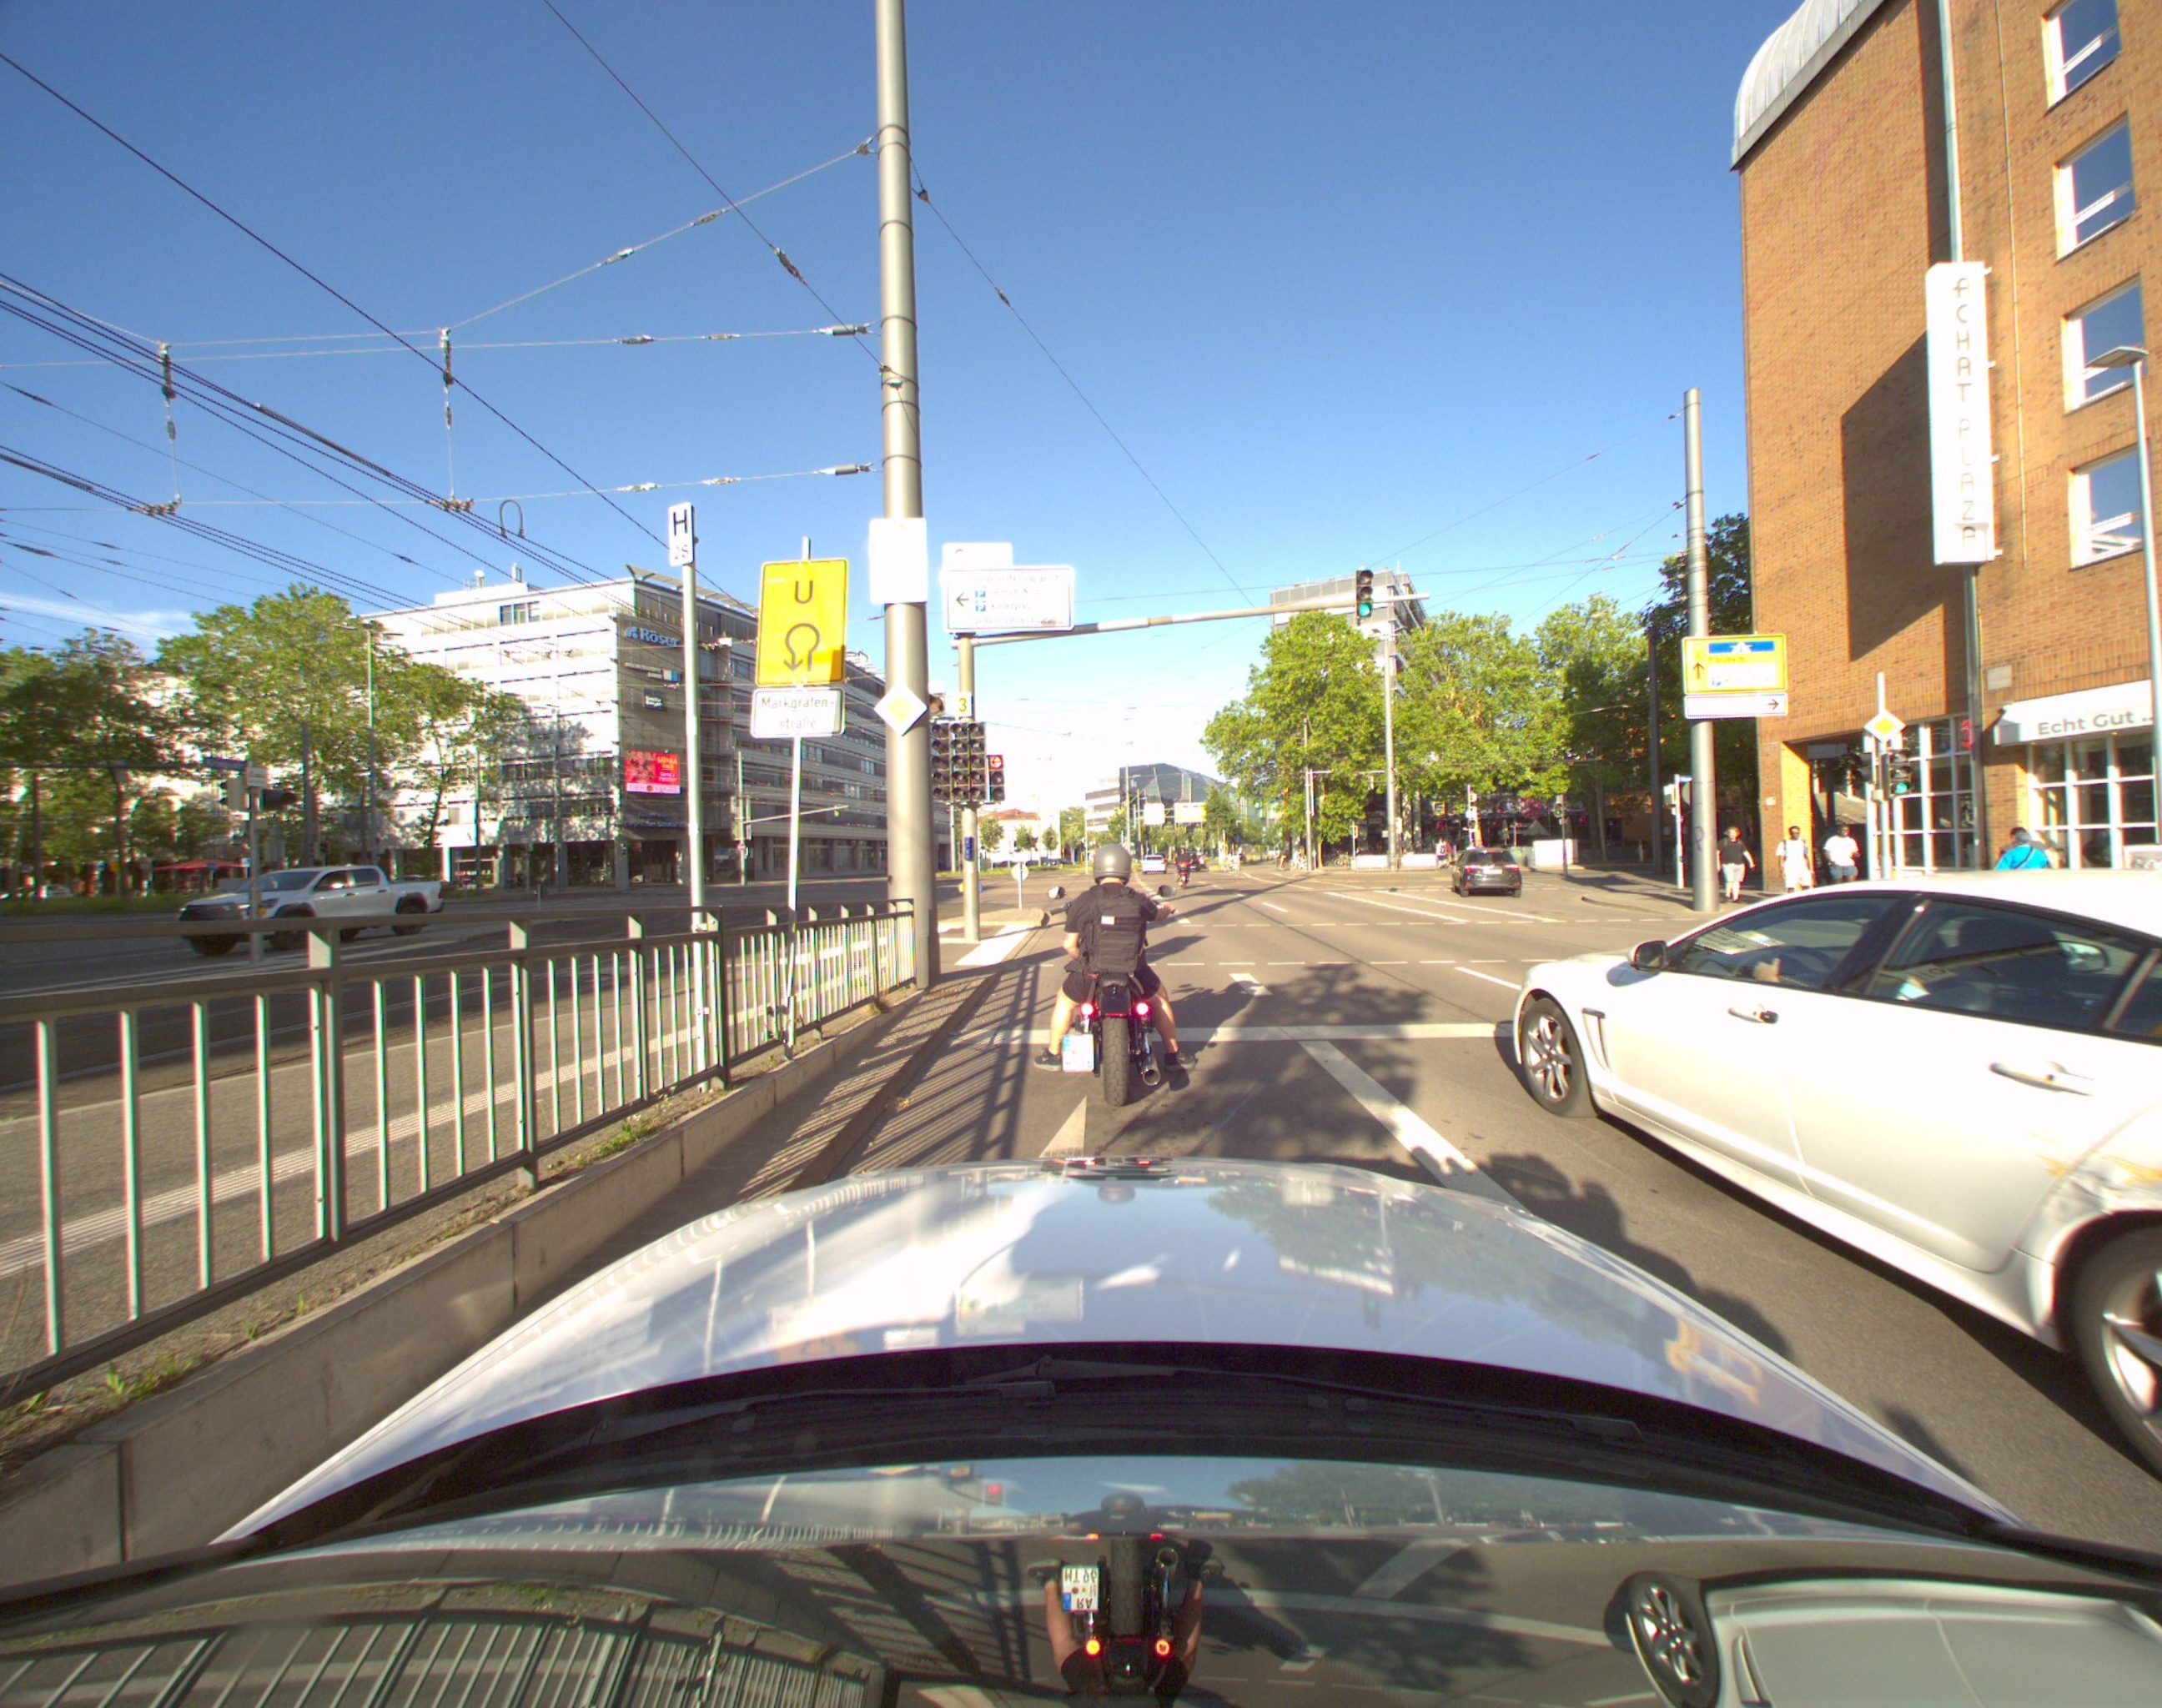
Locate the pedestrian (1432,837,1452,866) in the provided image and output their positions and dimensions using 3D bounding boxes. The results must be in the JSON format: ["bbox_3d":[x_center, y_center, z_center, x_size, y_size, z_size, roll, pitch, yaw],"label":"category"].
[{"bbox_3d":[21.302,-0.165,48.064,0.829,1.704,0.760,0,-1,2],"label":"pedestrian"}]

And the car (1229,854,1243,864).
[{"bbox_3d":[26.261,0.930,138.008,1.789,1.678,4.059,0,-1,18],"label":"car"}]

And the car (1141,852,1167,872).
[{"bbox_3d":[5.531,0.630,62.208,1.725,1.457,4.419,0,-1,2],"label":"car"}]

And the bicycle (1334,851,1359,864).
[{"bbox_3d":[21.293,0.291,65.376,1.874,1.046,0.360,0,-1,1],"label":"bicycle"}]

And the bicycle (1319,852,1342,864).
[{"bbox_3d":[21.505,0.363,70.298,1.874,1.046,0.360,0,0,1],"label":"bicycle"}]

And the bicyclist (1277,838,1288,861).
[{"bbox_3d":[15.596,-0.357,63.130,0.693,1.808,0.730,0,-1,6],"label":"bicyclist"}]

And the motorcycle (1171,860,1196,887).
[{"bbox_3d":[4.240,0.801,33.849,0.801,1.050,2.376,0,-1,2],"label":"motorcycle"}]

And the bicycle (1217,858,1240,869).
[{"bbox_3d":[12.131,0.760,66.933,1.823,0.925,0.357,0,-1,-7],"label":"bicycle"}]

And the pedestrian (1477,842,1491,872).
[{"bbox_3d":[20.098,0.162,40.659,0.561,1.479,0.706,-1,-1,22],"label":"pedestrian"}]

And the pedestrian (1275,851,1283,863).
[{"bbox_3d":[21.969,0.288,90.337,0.814,1.314,0.640,-1,-1,11],"label":"pedestrian"}]

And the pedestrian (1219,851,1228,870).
[{"bbox_3d":[11.979,0.544,68.572,0.587,1.557,0.488,0,-1,-6],"label":"pedestrian"}]

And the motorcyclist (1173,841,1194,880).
[{"bbox_3d":[4.226,0.263,33.652,0.793,1.580,0.529,0,-1,1],"label":"motorcyclist"}]

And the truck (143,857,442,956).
[{"bbox_3d":[-17.996,1.126,19.087,1.988,1.880,5.152,-4,-1,-2],"label":"truck"}]

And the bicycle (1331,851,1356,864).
[{"bbox_3d":[21.308,0.313,66.158,1.874,1.046,0.360,0,-1,1],"label":"bicycle"}]

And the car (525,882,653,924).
[{"bbox_3d":[-13.894,1.360,23.127,2.884,1.063,1.235,0,-1,-19],"label":"car"}]

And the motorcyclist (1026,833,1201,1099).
[{"bbox_3d":[0.210,0.685,5.405,1.027,1.593,0.874,-2,0,1],"label":"motorcyclist"}]

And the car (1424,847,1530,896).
[{"bbox_3d":[12.562,0.504,26.108,1.723,1.450,4.047,-1,0,5],"label":"car"}]

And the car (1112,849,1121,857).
[{"bbox_3d":[9.019,-0.303,205.339,1.982,2.014,4.309,0,-1,8],"label":"car"}]

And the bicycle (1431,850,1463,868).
[{"bbox_3d":[25.213,0.355,56.136,2.034,1.214,0.421,0,-1,2],"label":"bicycle"}]

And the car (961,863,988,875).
[{"bbox_3d":[-12.998,1.858,99.476,1.812,1.430,4.256,-1,-1,13],"label":"car"}]

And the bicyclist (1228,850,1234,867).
[{"bbox_3d":[12.323,0.399,66.958,0.380,1.373,0.344,0,-1,-7],"label":"bicyclist"}]

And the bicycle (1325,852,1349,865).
[{"bbox_3d":[21.426,0.363,68.161,1.874,1.046,0.360,0,-1,1],"label":"bicycle"}]

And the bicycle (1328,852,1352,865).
[{"bbox_3d":[21.450,0.355,67.528,1.874,1.046,0.360,0,0,1],"label":"bicycle"}]

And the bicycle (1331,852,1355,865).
[{"bbox_3d":[21.530,0.336,66.971,1.874,1.046,0.360,0,-1,1],"label":"bicycle"}]

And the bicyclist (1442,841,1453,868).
[{"bbox_3d":[25.272,0.046,56.146,0.582,1.837,0.403,0,-1,1],"label":"bicyclist"}]

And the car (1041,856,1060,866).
[{"bbox_3d":[-4.533,1.036,120.921,1.736,1.524,4.016,-1,-1,16],"label":"car"}]

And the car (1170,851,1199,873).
[{"bbox_3d":[8.856,0.655,69.857,1.727,1.732,4.608,0,0,-2],"label":"car"}]

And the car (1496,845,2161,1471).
[{"bbox_3d":[3.469,0.701,3.001,1.796,1.430,4.457,-2,0,3],"label":"car"}]

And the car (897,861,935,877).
[{"bbox_3d":[-16.268,1.433,80.635,1.812,1.430,4.547,-2,0,14],"label":"car"}]

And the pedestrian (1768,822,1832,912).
[{"bbox_3d":[14.900,0.267,16.892,0.590,1.780,0.682,-5,0,2],"label":"pedestrian"}]

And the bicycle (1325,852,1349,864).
[{"bbox_3d":[21.581,0.357,68.645,1.874,1.046,0.360,0,0,1],"label":"bicycle"}]

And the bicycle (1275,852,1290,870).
[{"bbox_3d":[15.584,0.543,63.081,0.722,1.367,2.922,0,-1,6],"label":"bicycle"}]

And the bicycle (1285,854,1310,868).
[{"bbox_3d":[17.310,0.577,65.064,1.854,1.044,0.540,-1,-1,20],"label":"bicycle"}]

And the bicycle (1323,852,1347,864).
[{"bbox_3d":[21.568,0.357,69.146,1.874,1.046,0.360,0,0,1],"label":"bicycle"}]

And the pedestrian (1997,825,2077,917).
[{"bbox_3d":[15.787,0.277,13.460,0.590,1.476,0.552,-2,-1,2],"label":"pedestrian"}]

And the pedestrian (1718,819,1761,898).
[{"bbox_3d":[15.204,0.106,18.809,0.727,1.792,0.515,-1,-1,42],"label":"pedestrian"}]

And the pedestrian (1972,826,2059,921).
[{"bbox_3d":[15.103,0.315,13.177,0.590,1.452,0.601,-4,-1,2],"label":"pedestrian"}]

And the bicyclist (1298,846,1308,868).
[{"bbox_3d":[17.705,0.250,64.923,0.682,1.673,0.544,-2,-2,21],"label":"bicyclist"}]

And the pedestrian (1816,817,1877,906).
[{"bbox_3d":[15.911,0.156,16.942,0.588,1.780,0.684,-3,-1,13],"label":"pedestrian"}]

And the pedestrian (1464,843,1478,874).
[{"bbox_3d":[19.467,0.237,40.680,0.561,1.533,0.706,-1,-1,22],"label":"pedestrian"}]

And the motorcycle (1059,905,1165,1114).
[{"bbox_3d":[0.210,0.957,5.754,0.598,1.036,2.235,0,0,2],"label":"motorcycle"}]

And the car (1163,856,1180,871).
[{"bbox_3d":[10.286,1.049,92.762,1.794,1.678,4.047,0,-1,6],"label":"car"}]

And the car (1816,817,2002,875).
[{"bbox_3d":[29.800,-0.276,29.464,4.427,2.009,1.816,0,0,13],"label":"car"}]
